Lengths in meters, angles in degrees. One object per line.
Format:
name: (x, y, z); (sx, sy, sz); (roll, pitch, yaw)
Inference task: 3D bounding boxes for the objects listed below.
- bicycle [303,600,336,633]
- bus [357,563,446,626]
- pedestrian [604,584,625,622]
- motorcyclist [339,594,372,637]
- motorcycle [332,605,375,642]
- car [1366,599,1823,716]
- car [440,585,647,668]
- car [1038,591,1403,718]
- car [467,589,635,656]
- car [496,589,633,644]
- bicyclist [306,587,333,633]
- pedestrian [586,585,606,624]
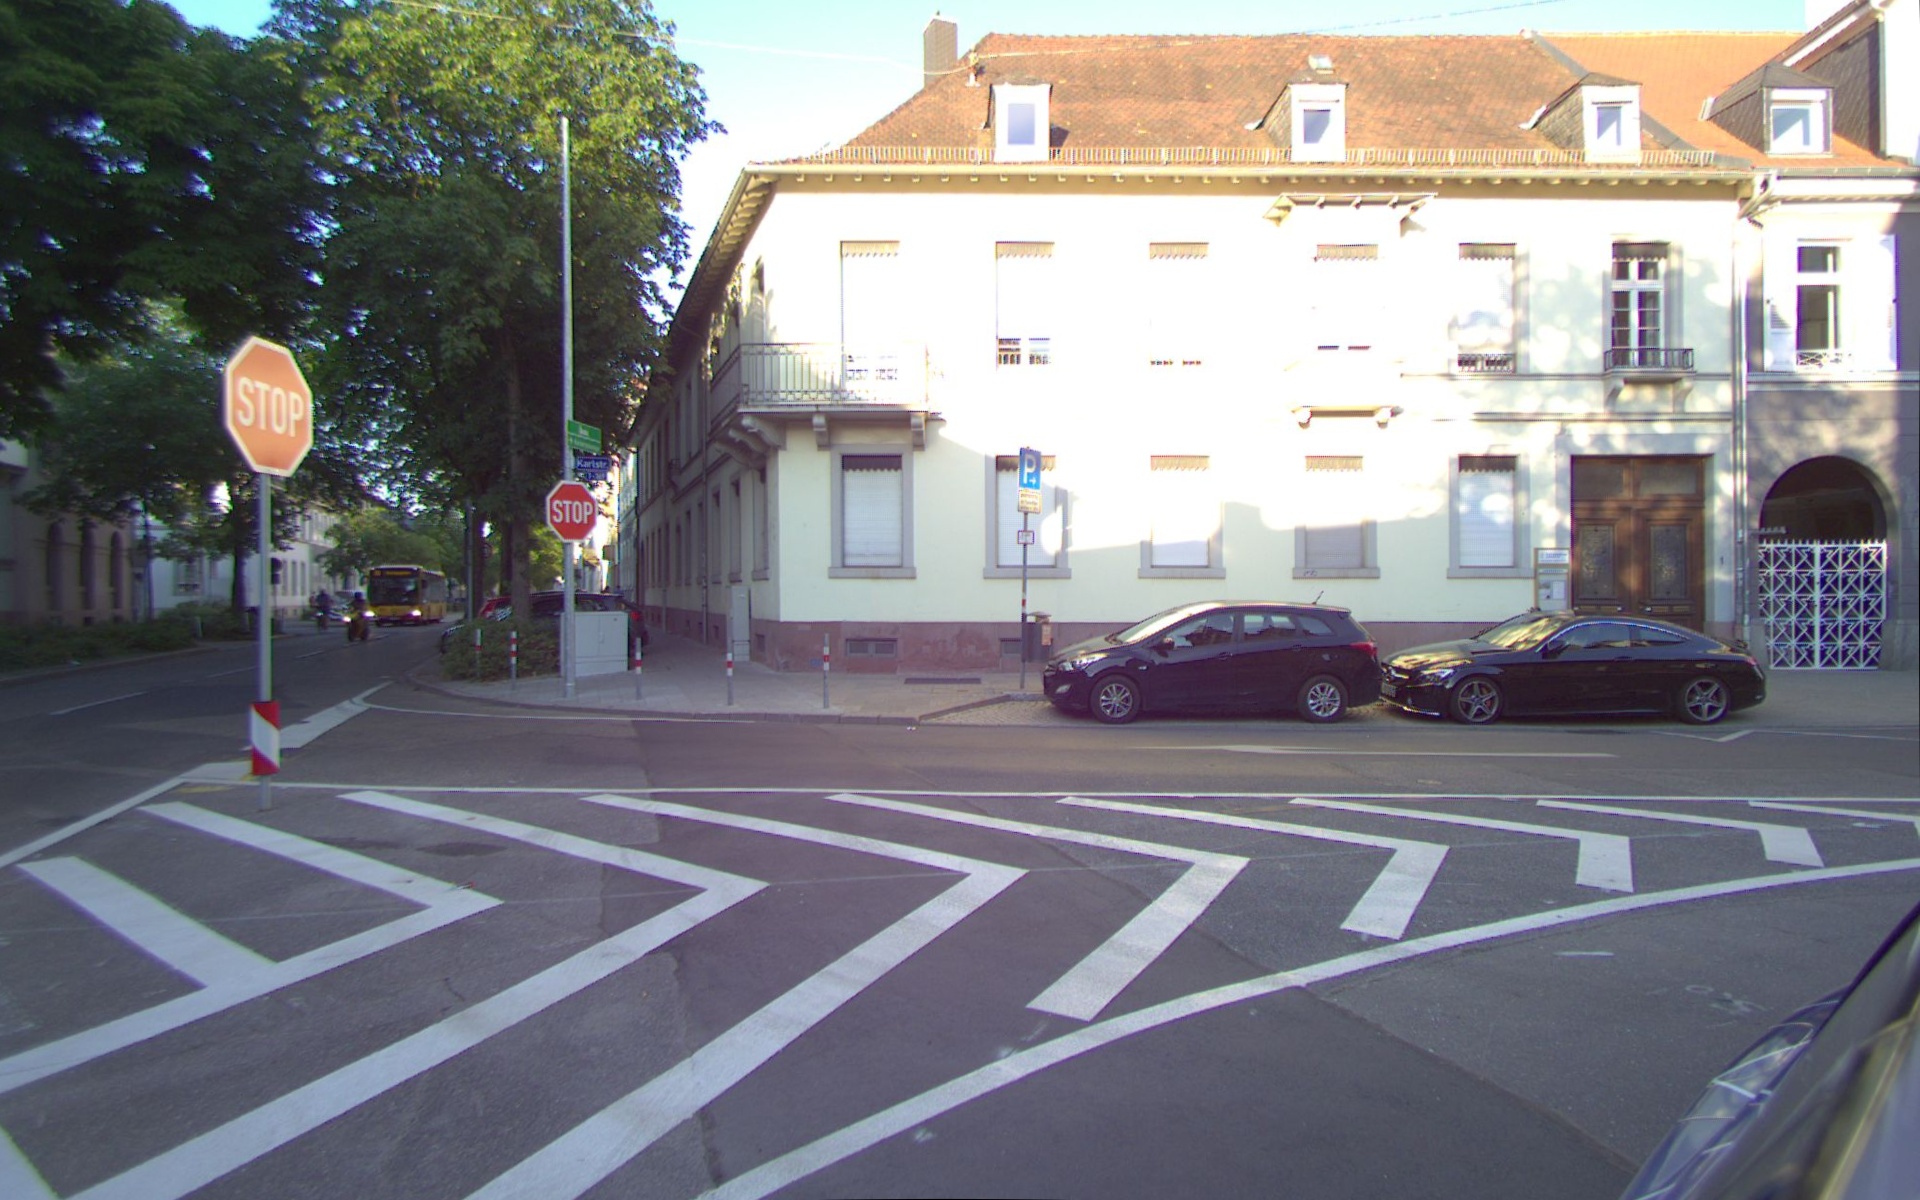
bicycle: (-27.111, 0.675, 42.848); (0.767, 1.346, 2.082); (-2, 1, -22)
bus: (-30.297, -0.303, 55.386); (2.657, 3.038, 12.105); (-2, 1, -22)
pedestrian: (-16.292, 0.145, 47.758); (0.876, 1.793, 1.023); (0, 0, -23)
motorcyclist: (-20.912, 0.518, 35.013); (0.777, 1.438, 0.700); (-2, 0, -16)
motorcycle: (-20.866, 0.784, 34.856); (0.777, 1.175, 1.971); (-2, 1, -17)
car: (8.076, 0.712, 13.240); (4.768, 1.412, 1.777); (0, -1, 3)
car: (-8.802, 0.510, 21.538); (3.917, 1.635, 1.832); (0, 0, -24)
car: (3.281, 0.685, 13.423); (4.348, 1.561, 1.806); (0, -1, 1)
car: (-10.546, 0.536, 26.190); (3.917, 1.635, 1.726); (0, 0, -24)
car: (-12.439, 0.477, 31.880); (3.917, 1.635, 1.726); (0, 0, -24)
bicyclist: (-27.129, 0.413, 42.872); (0.767, 1.862, 0.828); (-2, 1, -22)
pedestrian: (-17.062, 0.219, 47.424); (0.790, 1.793, 1.023); (0, 0, -23)
